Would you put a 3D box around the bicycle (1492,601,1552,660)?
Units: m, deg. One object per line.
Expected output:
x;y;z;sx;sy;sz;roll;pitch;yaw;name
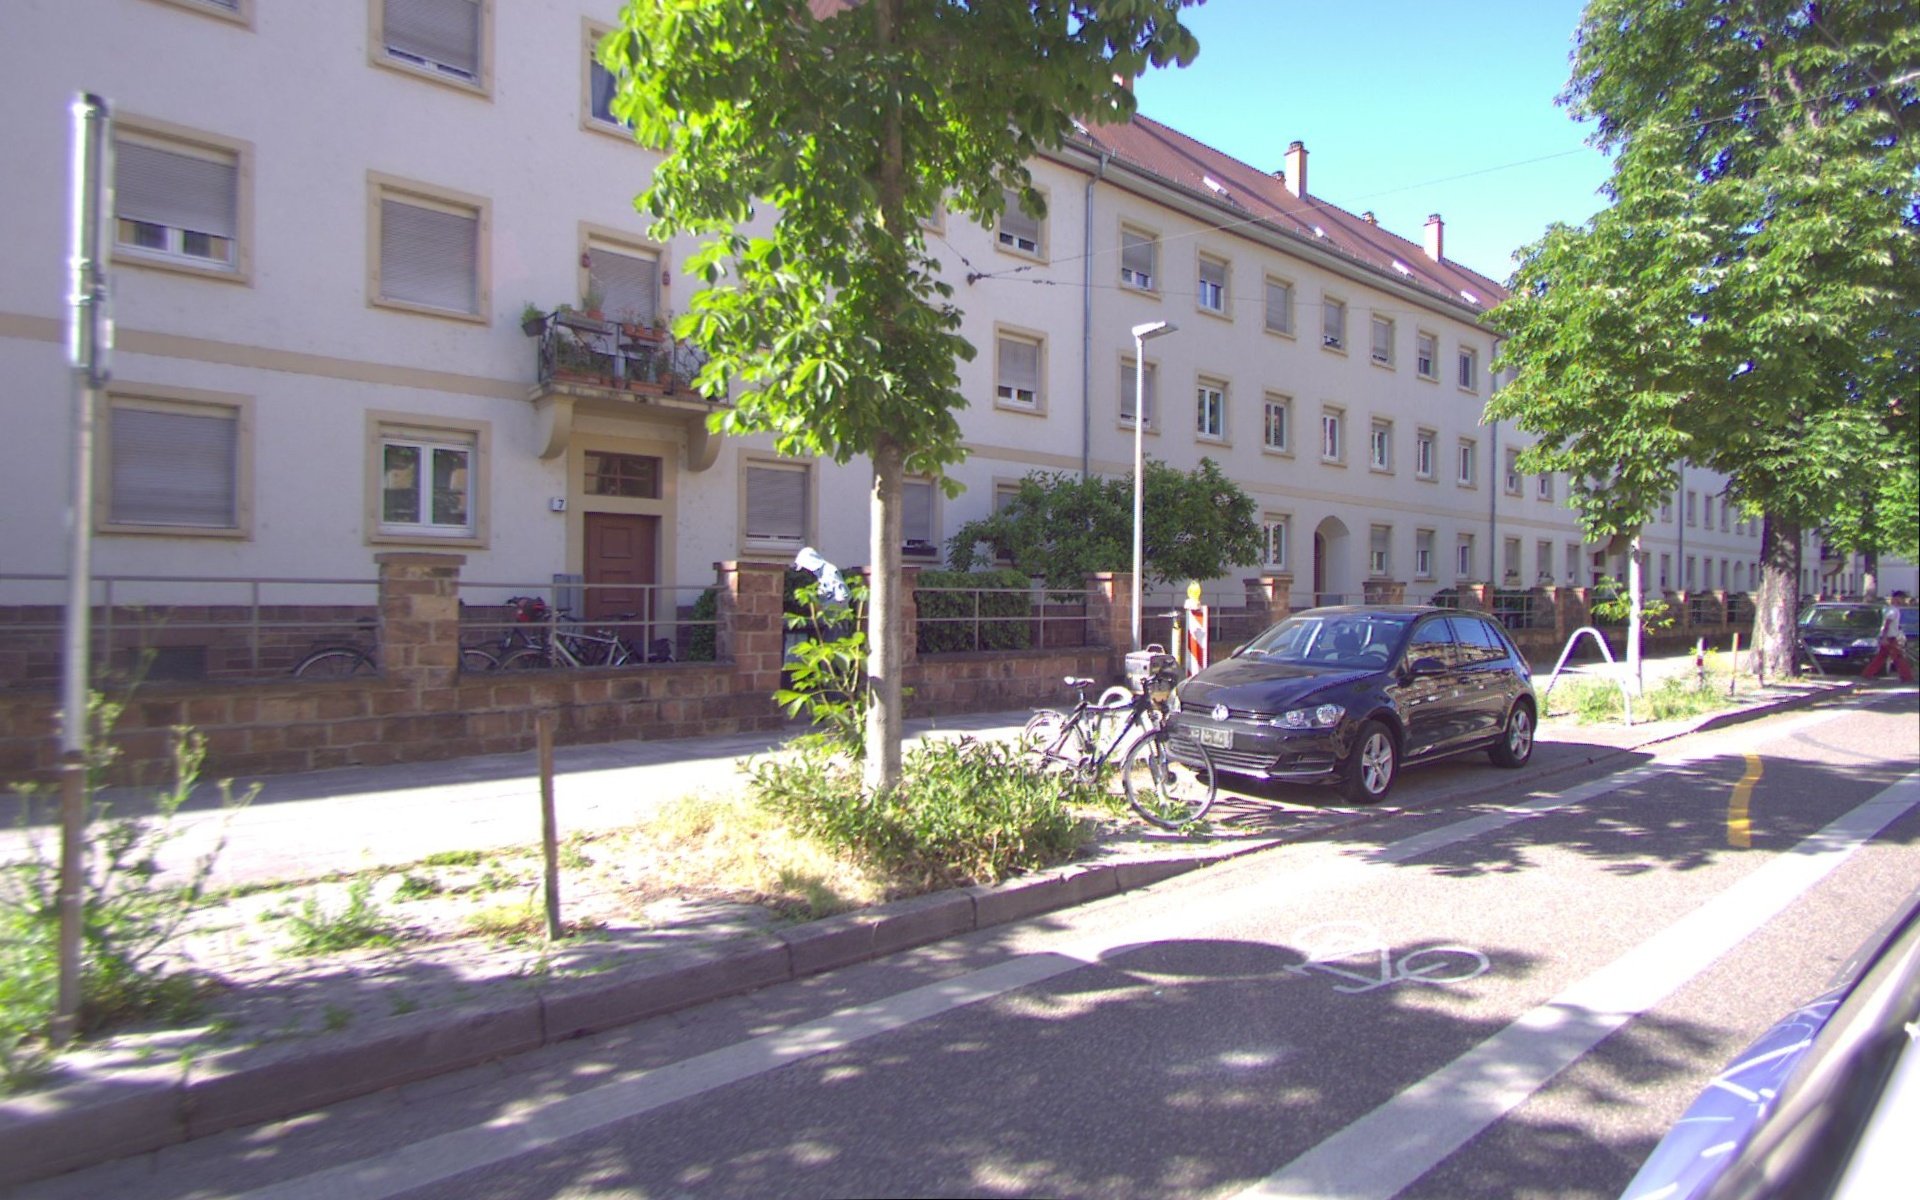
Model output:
12.397;0.656;22.300;1.710;1.235;0.544;0;1;-39;bicycle

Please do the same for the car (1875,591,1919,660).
26.520;0.660;27.665;4.156;1.783;1.669;0;0;-40;car

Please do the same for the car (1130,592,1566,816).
3.492;0.697;8.790;3.971;1.482;1.791;0;1;-39;car

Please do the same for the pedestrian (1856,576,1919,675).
17.606;0.458;19.154;0.594;1.792;0.907;3;2;21;pedestrian

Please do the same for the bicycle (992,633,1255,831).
1.083;0.839;7.075;0.610;1.080;1.795;0;2;-43;bicycle

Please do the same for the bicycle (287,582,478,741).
-4.937;0.495;8.691;1.398;1.277;0.349;0;-1;-35;bicycle

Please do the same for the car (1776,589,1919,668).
19.173;0.559;21.783;4.171;1.492;1.723;0;2;-40;car

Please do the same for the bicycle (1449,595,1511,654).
11.518;0.526;22.401;1.710;1.235;0.544;0;1;-39;bicycle

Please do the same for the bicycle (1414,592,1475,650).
10.845;0.451;22.632;1.710;1.235;0.544;0;1;-39;bicycle

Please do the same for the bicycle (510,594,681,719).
-3.615;0.533;10.113;1.546;1.167;0.441;0;-1;-39;bicycle

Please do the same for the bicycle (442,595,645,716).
-4.304;0.541;10.556;1.882;1.167;0.545;0;-1;-39;bicycle

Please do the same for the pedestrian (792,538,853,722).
-1.371;0.290;10.033;0.568;1.746;0.766;0;-1;-9;pedestrian

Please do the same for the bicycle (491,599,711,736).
-3.289;0.576;9.395;1.882;1.167;0.449;0;0;-39;bicycle
